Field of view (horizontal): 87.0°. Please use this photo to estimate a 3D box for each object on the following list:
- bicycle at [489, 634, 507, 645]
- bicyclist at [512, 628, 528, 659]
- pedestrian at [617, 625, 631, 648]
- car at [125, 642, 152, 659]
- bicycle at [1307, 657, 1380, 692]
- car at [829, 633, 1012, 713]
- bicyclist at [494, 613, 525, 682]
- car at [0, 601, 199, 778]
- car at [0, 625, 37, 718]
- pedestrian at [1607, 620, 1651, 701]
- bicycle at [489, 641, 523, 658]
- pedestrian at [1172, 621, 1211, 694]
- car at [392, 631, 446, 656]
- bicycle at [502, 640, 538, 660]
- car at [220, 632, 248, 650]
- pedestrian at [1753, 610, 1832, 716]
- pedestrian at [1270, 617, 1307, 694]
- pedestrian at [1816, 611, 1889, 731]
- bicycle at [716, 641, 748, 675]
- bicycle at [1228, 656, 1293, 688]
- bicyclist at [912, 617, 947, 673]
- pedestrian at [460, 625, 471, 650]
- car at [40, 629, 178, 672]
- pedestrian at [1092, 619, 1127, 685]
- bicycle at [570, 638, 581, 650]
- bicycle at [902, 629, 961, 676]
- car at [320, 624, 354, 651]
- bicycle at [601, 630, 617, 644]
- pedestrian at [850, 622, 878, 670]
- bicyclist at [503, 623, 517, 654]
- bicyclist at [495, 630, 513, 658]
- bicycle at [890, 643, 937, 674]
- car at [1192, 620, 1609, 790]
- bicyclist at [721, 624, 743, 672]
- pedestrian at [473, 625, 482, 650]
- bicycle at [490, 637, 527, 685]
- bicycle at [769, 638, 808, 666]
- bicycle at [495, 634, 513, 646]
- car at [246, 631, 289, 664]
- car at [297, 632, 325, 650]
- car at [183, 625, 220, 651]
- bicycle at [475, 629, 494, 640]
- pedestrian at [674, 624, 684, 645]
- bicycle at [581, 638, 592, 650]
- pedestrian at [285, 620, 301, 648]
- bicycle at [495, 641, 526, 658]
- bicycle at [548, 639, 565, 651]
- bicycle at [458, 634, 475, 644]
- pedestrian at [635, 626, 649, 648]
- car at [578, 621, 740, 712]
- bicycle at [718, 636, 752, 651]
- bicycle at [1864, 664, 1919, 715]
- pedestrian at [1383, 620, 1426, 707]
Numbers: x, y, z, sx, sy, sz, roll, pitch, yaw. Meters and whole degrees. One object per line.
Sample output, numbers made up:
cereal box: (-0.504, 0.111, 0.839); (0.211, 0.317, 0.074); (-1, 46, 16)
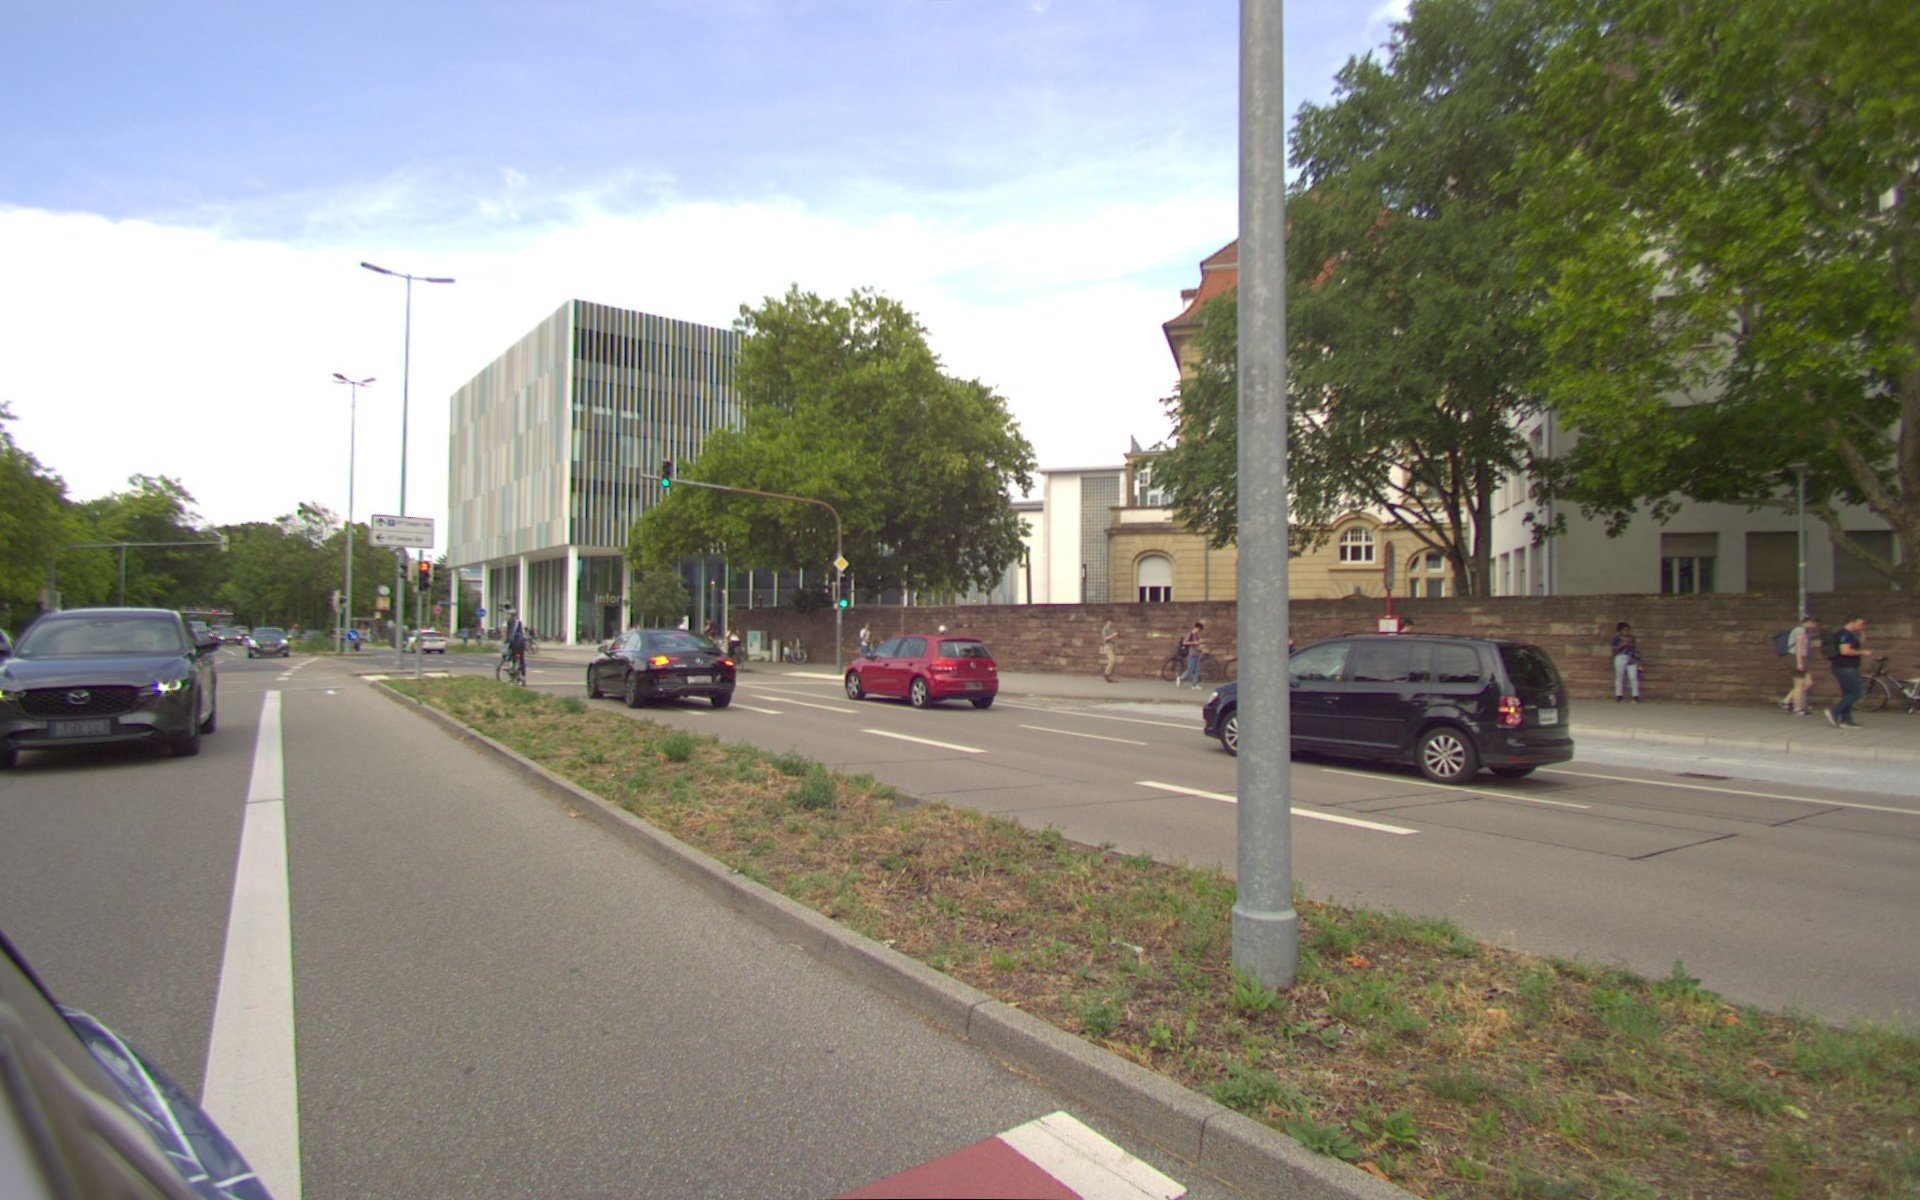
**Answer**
bicycle: (-45.533, 3.892, 99.725); (1.558, 1.031, 0.390); (-1, -1, -43)
bicyclist: (-25.982, 2.540, 59.745); (0.561, 1.820, 0.594); (-1, -3, 37)
pedestrian: (-25.334, 2.757, 76.275); (0.673, 1.753, 0.726); (-1, -2, 18)
car: (-67.264, 4.115, 82.854); (1.677, 1.379, 3.838); (2, -3, -40)
bicycle: (9.441, 1.827, 24.938); (0.435, 0.803, 1.622); (-1, -2, -44)
car: (-0.934, 1.452, 21.348); (1.778, 1.500, 4.298); (2, -2, -36)
bicyclist: (-10.475, 1.102, 23.542); (0.564, 1.586, 0.701); (1, -2, -31)
car: (-10.026, 0.908, 11.733); (1.875, 1.661, 4.655); (0, -1, -37)
car: (-16.516, 1.156, 16.404); (1.676, 1.505, 3.842); (1, -2, -33)
pedestrian: (13.533, 1.207, 20.488); (0.733, 1.604, 0.581); (0, -1, 33)
bicycle: (-28.037, 3.067, 62.501); (0.728, 0.996, 1.799); (-1, -1, 38)
pedestrian: (5.807, 1.423, 25.378); (0.779, 1.796, 0.755); (1, -1, 25)
car: (-34.008, 2.688, 63.565); (1.781, 1.500, 4.418); (2, -3, -45)
bicycle: (-25.960, 2.927, 59.750); (0.606, 1.179, 1.871); (-2, -3, 37)
car: (-60.611, 3.420, 84.473); (1.635, 1.475, 4.007); (0, -1, -39)
pedestrian: (14.642, 1.085, 17.816); (0.910, 1.796, 0.754); (1, -1, 27)
pedestrian: (7.981, 1.328, 24.571); (0.779, 1.796, 0.755); (1, -1, 24)
pedestrian: (13.863, 1.075, 15.746); (0.719, 1.796, 0.753); (1, -1, 32)
bicycle: (-8.636, 2.167, 38.285); (0.610, 1.226, 2.051); (1, -2, -30)
bicycle: (7.881, 1.880, 26.583); (0.435, 0.803, 1.622); (-1, -2, -44)
bicyclist: (-0.802, 1.154, 26.282); (0.572, 1.430, 0.813); (2, -2, -33)
pedestrian: (-36.658, 2.808, 75.006); (0.504, 1.852, 0.774); (2, -4, -38)
car: (-34.614, 2.018, 41.235); (1.805, 1.568, 4.117); (-3, -2, 43)
pedestrian: (4.178, 1.443, 28.235); (0.779, 1.796, 0.741); (1, -1, 23)
bicycle: (-31.240, 3.583, 82.211); (0.388, 0.944, 1.600); (-1, -1, -5)
bicycle: (-0.765, 1.344, 26.232); (0.574, 1.179, 1.969); (2, -2, -34)
car: (-35.926, 2.150, 58.336); (1.550, 1.500, 3.646); (0, -1, -33)
bicycle: (-27.779, 2.946, 80.024); (0.390, 1.037, 1.539); (-1, -1, 15)
pedestrian: (-3.630, 1.719, 38.131); (0.778, 1.796, 0.742); (1, -1, 21)
bicyclist: (-27.091, 2.312, 60.964); (0.561, 1.820, 0.594); (-1, -1, 38)
bicyclist: (-28.119, 2.697, 62.409); (0.723, 1.685, 0.719); (-1, -1, 38)
bicycle: (-1.683, 2.100, 36.580); (0.542, 1.066, 1.983); (-2, 0, -41)
car: (5.112, 1.139, 12.269); (1.778, 1.678, 4.309); (4, -4, -38)
bicyclist: (-8.642, 1.825, 38.329); (0.609, 1.796, 0.813); (1, -2, -30)
pedestrian: (-35.981, 2.774, 75.469); (0.504, 1.852, 0.625); (2, -4, -38)
bicycle: (-10.528, 1.396, 23.561); (0.565, 1.063, 1.932); (1, -2, -31)
bicycle: (-7.218, 2.169, 42.560); (0.570, 1.134, 2.169); (-2, 0, -39)
bicycle: (-42.978, 3.760, 95.374); (1.558, 1.031, 0.390); (-1, -1, -43)
car: (-34.384, 2.314, 50.295); (1.634, 1.475, 4.011); (-1, 0, -32)
car: (-57.990, 3.624, 90.340); (1.778, 1.523, 4.113); (2, -1, -37)
car: (-53.774, 2.712, 71.739); (1.968, 1.785, 4.008); (2, -3, -38)
bicycle: (-47.788, 3.447, 101.711); (1.558, 1.031, 0.390); (5, -4, -43)
pedestrian: (-24.655, 3.042, 88.768); (0.629, 1.792, 0.595); (0, -2, 8)
bicycle: (-30.257, 3.571, 82.014); (0.388, 0.944, 1.600); (-1, -1, -5)
pedestrian: (-43.953, 2.245, 66.680); (0.716, 1.867, 1.066); (2, -2, -40)
bicycle: (-27.076, 2.981, 60.968); (0.571, 0.996, 1.670); (-1, -3, 38)
bicycle: (-33.143, 3.691, 83.169); (0.391, 0.944, 1.601); (-2, -1, 19)
bicycle: (-53.576, 4.227, 109.874); (1.678, 1.031, 0.435); (-1, -1, -43)
pedestrian: (-23.862, 2.771, 75.964); (0.674, 1.612, 0.725); (-1, -2, 21)
car: (-5.764, 1.173, 19.007); (1.777, 1.500, 4.418); (1, -2, -32)
bicycle: (-17.110, 3.298, 76.969); (0.796, 1.098, 2.649); (-1, -3, 37)
bicycle: (16.989, 1.581, 17.782); (1.618, 0.834, 0.436); (-1, 0, 38)
pedestrian: (9.418, 1.325, 21.434); (0.780, 1.796, 0.754); (1, -1, 27)
